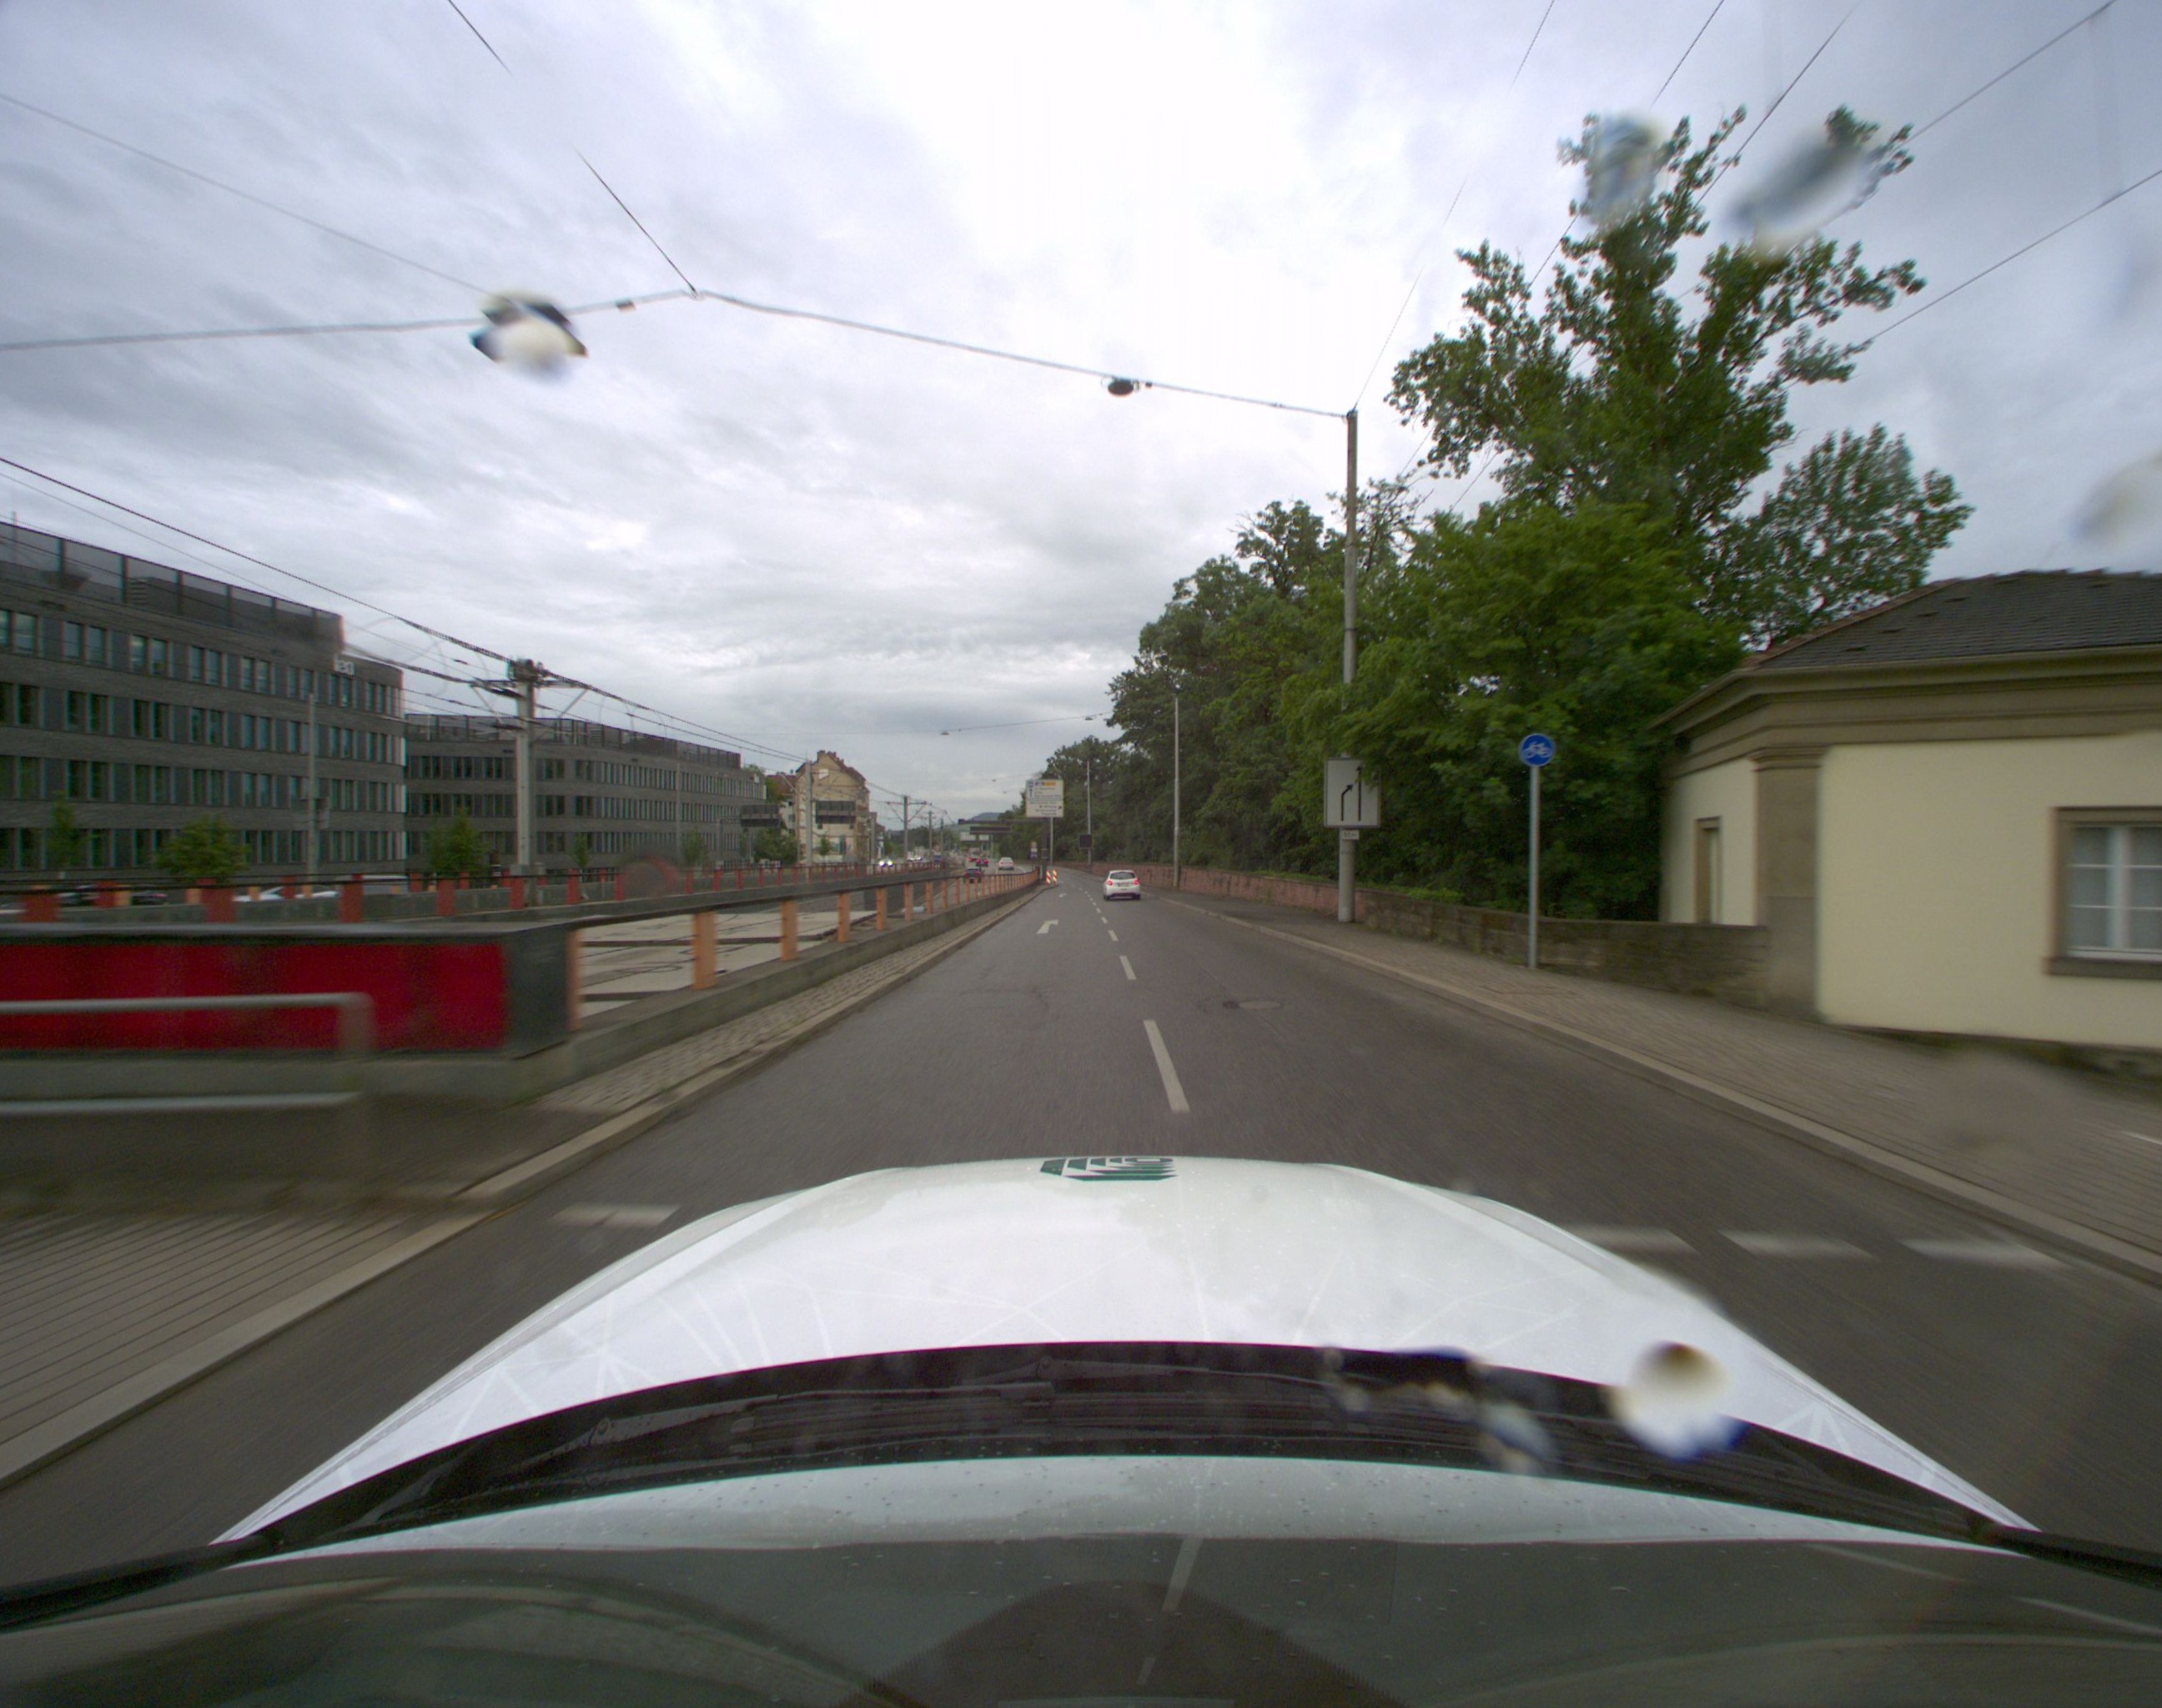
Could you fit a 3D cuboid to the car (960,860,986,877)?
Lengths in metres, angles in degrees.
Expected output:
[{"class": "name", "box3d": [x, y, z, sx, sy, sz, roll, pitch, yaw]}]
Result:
[{"class": "car", "box3d": [-10.303, 1.348, 77.659, 1.988, 1.575, 3.998, -1, 0, -1]}]

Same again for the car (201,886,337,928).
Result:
[{"class": "car", "box3d": [-36.455, 2.351, 36.761, 1.820, 1.749, 4.271, 0, -2, -1]}]

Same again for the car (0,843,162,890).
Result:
[{"class": "car", "box3d": [-36.318, 0.506, 29.395, 1.818, 1.585, 3.831, 0, -2, 1]}]

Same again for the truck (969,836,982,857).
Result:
[{"class": "truck", "box3d": [-29.323, -2.000, 226.598, 3.462, 5.402, 12.016, 1, -2, -8]}]

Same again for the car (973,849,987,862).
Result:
[{"class": "car", "box3d": [-15.010, 0.189, 120.742, 1.993, 1.872, 3.987, -1, 0, -9]}]

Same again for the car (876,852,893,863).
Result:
[{"class": "car", "box3d": [-32.857, 0.588, 136.296, 1.818, 1.584, 3.833, 0, 2, 1]}]

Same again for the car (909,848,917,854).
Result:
[{"class": "car", "box3d": [-48.118, -0.805, 233.664, 1.823, 1.584, 3.823, 0, 2, -7]}]

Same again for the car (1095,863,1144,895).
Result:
[{"class": "car", "box3d": [1.860, 1.280, 40.714, 1.952, 1.488, 3.992, 1, -2, -5]}]

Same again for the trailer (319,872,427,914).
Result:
[{"class": "trailer", "box3d": [-36.567, 2.016, 42.238, 1.820, 2.074, 4.271, 0, -2, -1]}]

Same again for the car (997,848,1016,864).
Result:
[{"class": "car", "box3d": [-9.337, 0.219, 102.069, 2.081, 1.872, 4.084, -1, 0, -9]}]
